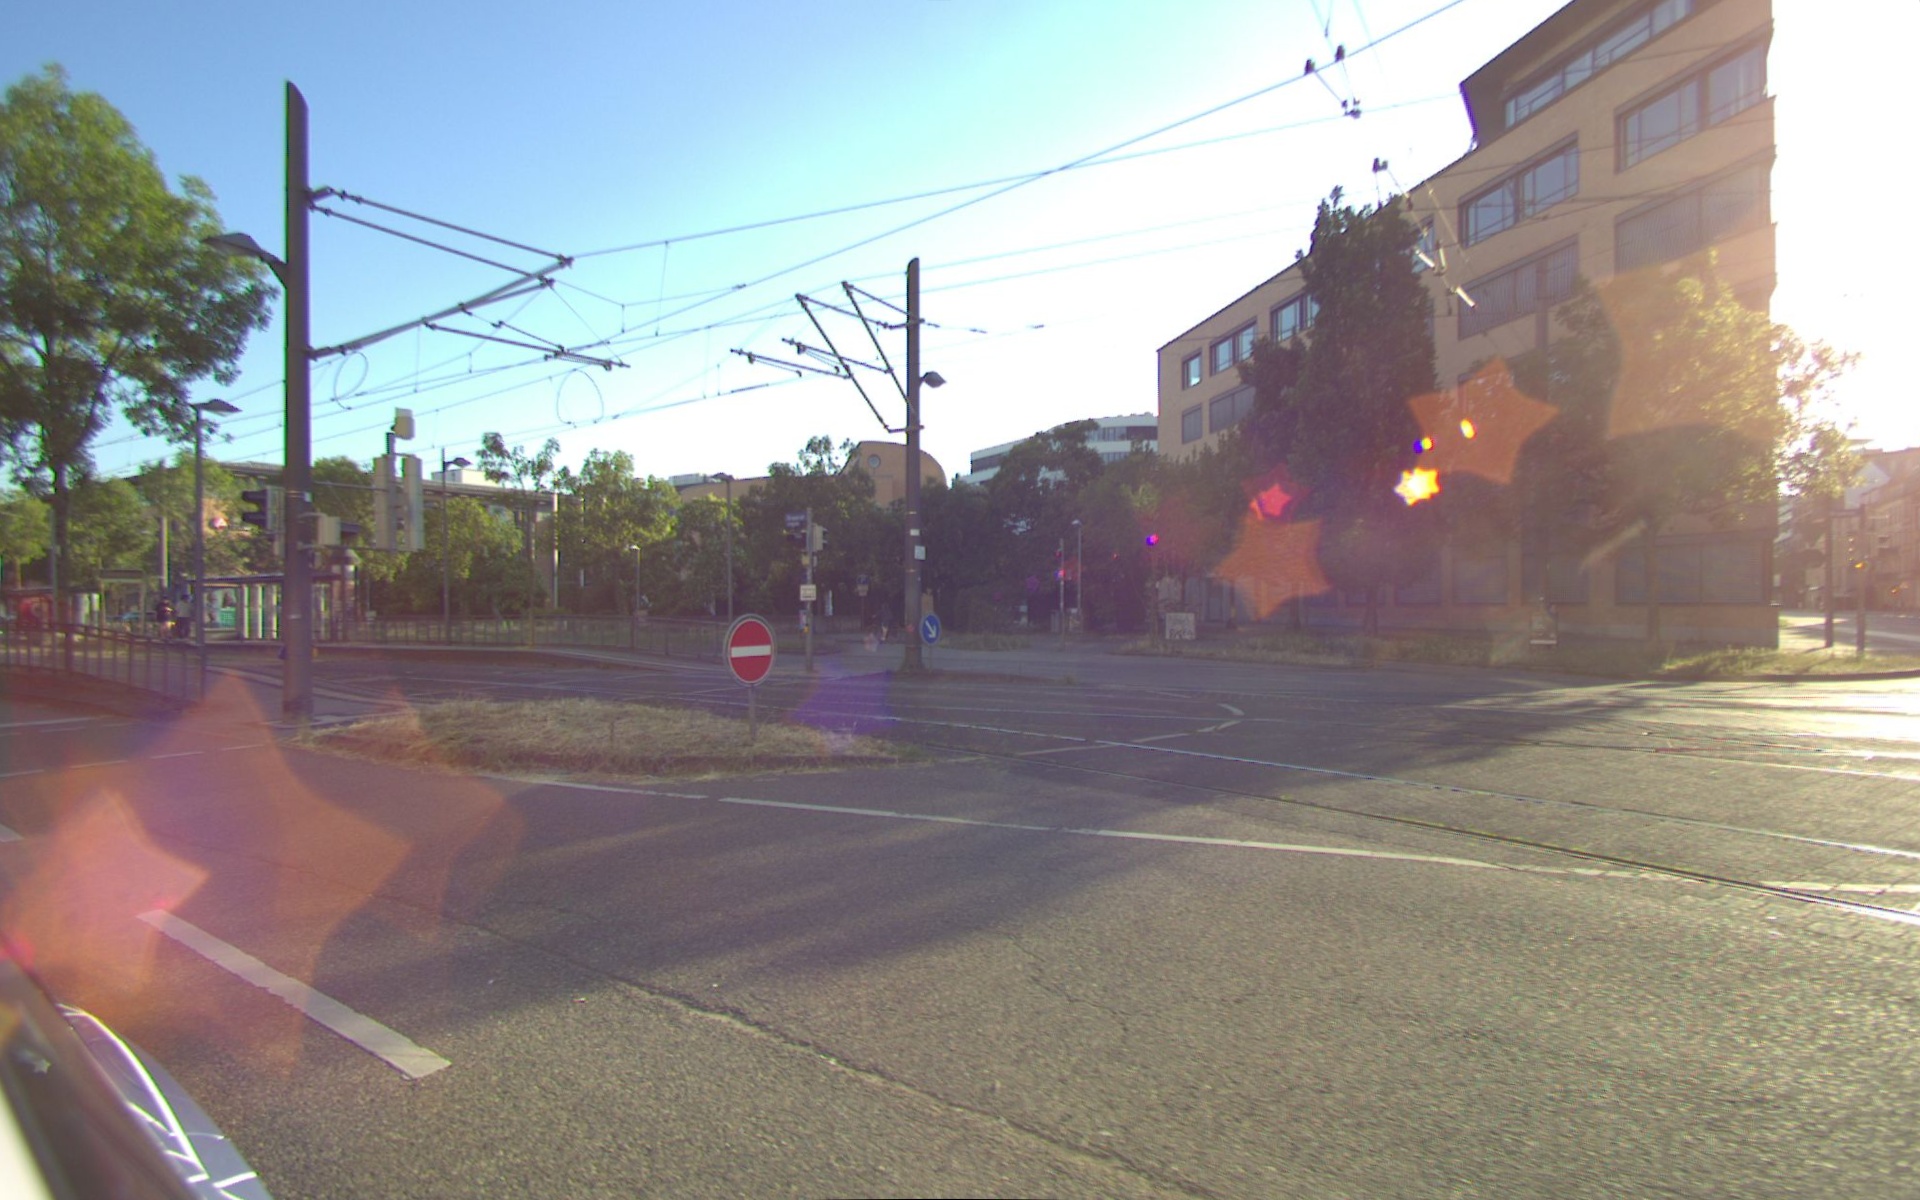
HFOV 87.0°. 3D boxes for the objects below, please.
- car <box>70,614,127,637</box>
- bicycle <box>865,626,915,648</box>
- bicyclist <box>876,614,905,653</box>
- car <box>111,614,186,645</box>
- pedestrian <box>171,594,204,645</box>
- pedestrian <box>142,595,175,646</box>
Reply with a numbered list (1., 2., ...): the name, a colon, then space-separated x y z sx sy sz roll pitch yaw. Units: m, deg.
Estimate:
1. car: -55.462 1.650 65.129 4.421 1.424 1.597 -1 0 33
2. bicycle: -2.781 1.466 40.138 1.962 0.827 0.767 -1 -1 37
3. bicyclist: -2.759 1.320 40.129 0.826 1.478 0.761 -1 -1 37
4. car: -44.407 1.602 55.343 4.883 1.563 1.976 -1 -1 36
5. pedestrian: -31.506 0.801 41.276 1.125 2.029 0.763 -1 -1 36
6. pedestrian: -32.524 0.840 41.062 1.125 2.029 0.763 -1 -1 36
